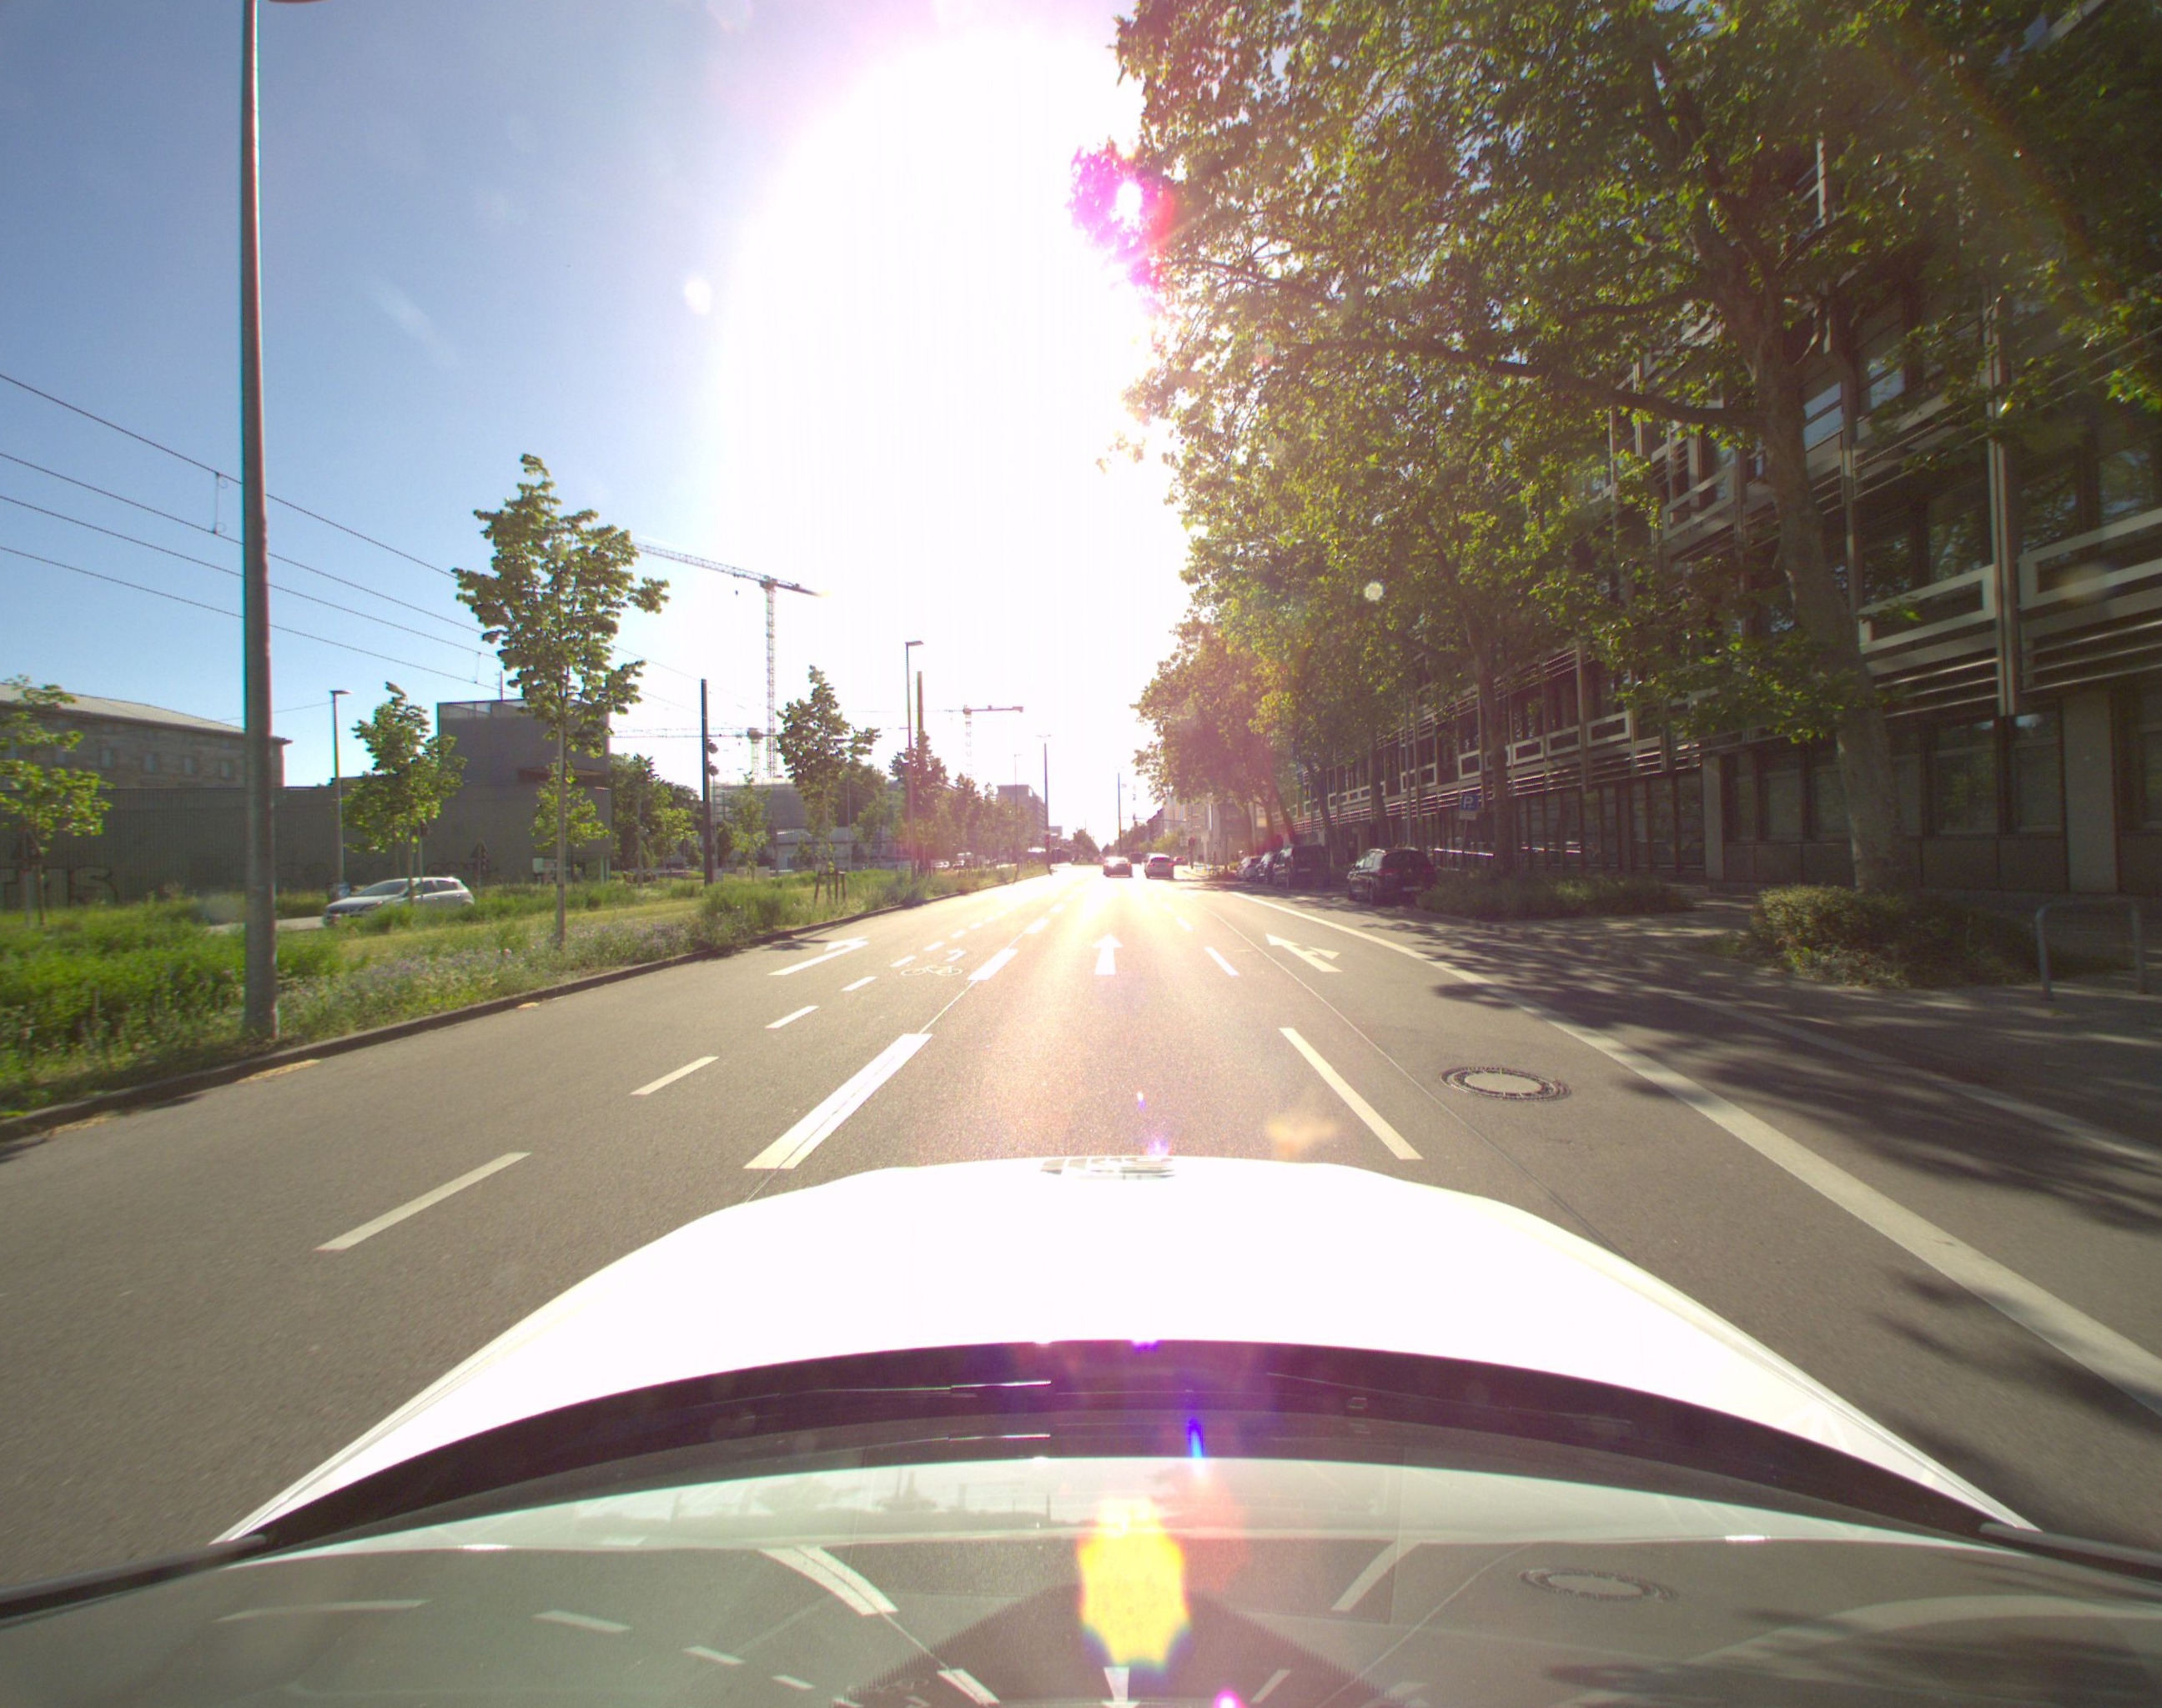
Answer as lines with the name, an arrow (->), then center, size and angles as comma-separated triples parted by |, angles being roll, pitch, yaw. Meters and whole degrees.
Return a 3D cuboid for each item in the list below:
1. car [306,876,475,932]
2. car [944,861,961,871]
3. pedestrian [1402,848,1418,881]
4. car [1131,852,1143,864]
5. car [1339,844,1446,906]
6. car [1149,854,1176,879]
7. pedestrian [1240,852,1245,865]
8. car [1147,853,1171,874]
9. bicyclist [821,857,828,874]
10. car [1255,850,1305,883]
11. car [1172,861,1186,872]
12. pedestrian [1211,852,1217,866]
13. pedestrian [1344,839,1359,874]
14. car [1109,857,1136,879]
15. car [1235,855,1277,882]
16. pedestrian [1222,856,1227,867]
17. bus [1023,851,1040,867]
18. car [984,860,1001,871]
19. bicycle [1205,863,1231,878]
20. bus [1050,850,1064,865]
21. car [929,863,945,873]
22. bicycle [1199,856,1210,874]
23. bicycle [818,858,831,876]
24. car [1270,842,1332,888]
car -> -20.097, 1.406, 23.931 | 1.627, 1.398, 3.834 | -1, 0, 1
car -> -14.620, 1.362, 92.689 | 1.371, 1.178, 3.222 | 0, -1, 2
pedestrian -> 16.315, 0.515, 40.420 | 0.551, 1.603, 0.573 | -1, 0, 3
car -> 9.671, 0.771, 140.308 | 1.985, 2.014, 4.003 | 0, -1, 3
car -> 9.082, 0.561, 24.143 | 1.696, 1.643, 4.642 | -1, 0, 5
car -> 5.629, 0.860, 56.375 | 1.714, 1.618, 4.191 | -1, 0, 4
pedestrian -> 18.144, 0.526, 91.496 | 0.558, 1.441, 0.633 | 0, -1, 9
car -> 6.752, 0.794, 70.522 | 1.715, 1.782, 4.187 | -1, 0, 1
bicyclist -> -22.173, 0.968, 70.514 | 0.392, 1.455, 0.540 | 1, -1, 2
car -> 9.930, 0.612, 40.918 | 1.697, 1.563, 4.195 | -1, -1, 3
car -> 15.155, 1.940, 126.116 | 1.656, 1.649, 3.701 | 1, -1, 1
pedestrian -> 13.965, 0.526, 85.634 | 0.558, 1.441, 0.633 | 0, -1, 9
pedestrian -> 15.198, 0.134, 45.742 | 0.674, 1.916, 0.557 | 0, -1, 2
car -> 3.069, 1.011, 60.629 | 1.905, 1.486, 4.011 | -1, 0, 2
car -> 10.184, 0.802, 47.709 | 1.697, 1.492, 4.604 | -1, 0, 3
pedestrian -> 17.771, 0.917, 101.010 | 0.558, 1.441, 0.633 | 0, -1, 9
bus -> -9.155, 1.035, 152.122 | 2.619, 2.783, 8.842 | 1, -1, 0
car -> -10.000, 1.312, 92.055 | 1.371, 1.178, 3.222 | 0, -1, 2
bicycle -> 9.470, 1.157, 56.274 | 1.689, 0.957, 0.478 | -3, 0, -2
bus -> -4.884, 0.801, 169.078 | 2.619, 2.960, 9.897 | 1, -1, 0
car -> -23.476, 2.235, 133.119 | 1.830, 1.613, 3.897 | 0, -1, 2
bicycle -> 10.514, 0.936, 69.324 | 0.560, 1.441, 2.577 | 1, -1, 2
bicycle -> -22.187, 1.110, 70.453 | 0.359, 1.455, 1.915 | -1, 0, 3
car -> 9.526, 0.464, 35.551 | 1.697, 1.790, 4.195 | -3, 0, 3
